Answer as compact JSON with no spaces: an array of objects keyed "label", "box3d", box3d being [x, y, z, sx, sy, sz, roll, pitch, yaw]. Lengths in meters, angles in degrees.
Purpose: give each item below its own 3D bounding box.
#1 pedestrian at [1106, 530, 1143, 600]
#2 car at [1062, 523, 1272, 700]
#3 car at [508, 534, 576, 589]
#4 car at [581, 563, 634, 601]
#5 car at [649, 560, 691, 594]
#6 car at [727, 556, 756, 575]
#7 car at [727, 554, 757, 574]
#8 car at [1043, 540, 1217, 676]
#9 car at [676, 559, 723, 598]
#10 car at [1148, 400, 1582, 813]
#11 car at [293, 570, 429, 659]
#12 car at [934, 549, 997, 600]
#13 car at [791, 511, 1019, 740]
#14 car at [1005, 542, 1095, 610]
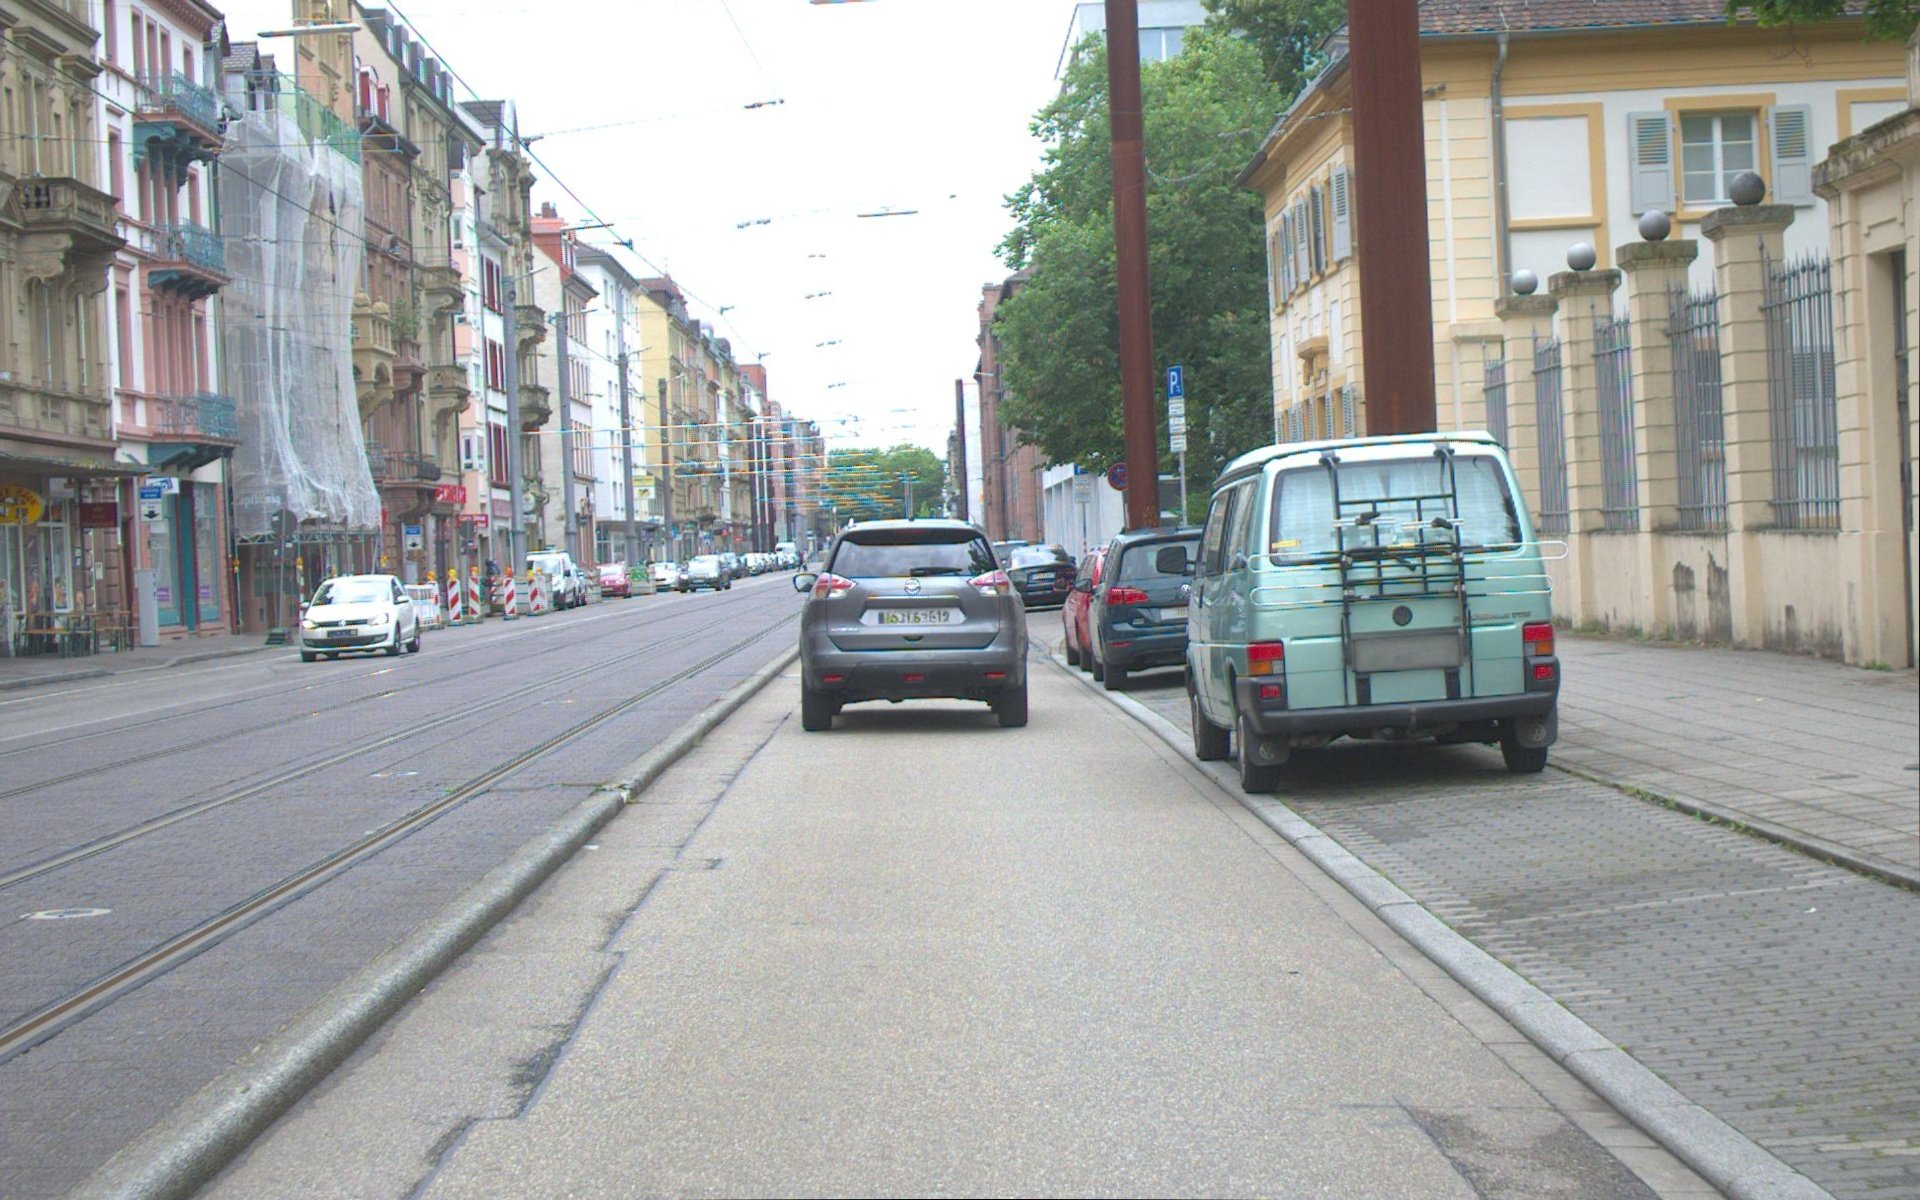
[{"label":"pedestrian","box3d":[4.505,-0.963,94.297,0.910,1.880,0.846,-2,0,-1]},{"label":"car","box3d":[2.094,0.088,35.726,1.749,1.590,3.924,-5,1,-1]},{"label":"car","box3d":[-13.972,-1.277,115.067,1.993,1.700,4.000,-2,0,-4]},{"label":"car","box3d":[-14.424,-0.712,140.825,1.993,1.459,4.000,-2,0,-4]},{"label":"car","box3d":[-14.452,-1.139,171.508,1.993,1.629,4.000,-2,0,-4]},{"label":"car","box3d":[-15.515,-2.432,244.247,1.993,1.262,4.000,-2,0,-4]},{"label":"car","box3d":[-15.169,-2.472,239.393,1.993,1.262,4.000,-2,0,-4]},{"label":"car","box3d":[2.029,0.062,42.055,1.749,1.436,3.924,-5,1,-1]},{"label":"car","box3d":[-11.620,-0.961,153.353,1.993,1.629,4.000,-2,0,-4]},{"label":"car","box3d":[2.359,0.000,21.344,1.851,2.108,4.985,-5,1,-1]},{"label":"car","box3d":[-10.448,0.225,60.202,1.687,1.415,4.135,-2,1,-1]},{"label":"car","box3d":[0.145,-0.782,102.908,1.776,1.415,4.135,-2,1,-1]},{"label":"car","box3d":[-0.457,0.168,28.582,1.749,1.750,3.924,-1,1,-1]},{"label":"car","box3d":[1.995,-0.562,77.102,1.776,1.415,4.135,-2,1,-1]}]
